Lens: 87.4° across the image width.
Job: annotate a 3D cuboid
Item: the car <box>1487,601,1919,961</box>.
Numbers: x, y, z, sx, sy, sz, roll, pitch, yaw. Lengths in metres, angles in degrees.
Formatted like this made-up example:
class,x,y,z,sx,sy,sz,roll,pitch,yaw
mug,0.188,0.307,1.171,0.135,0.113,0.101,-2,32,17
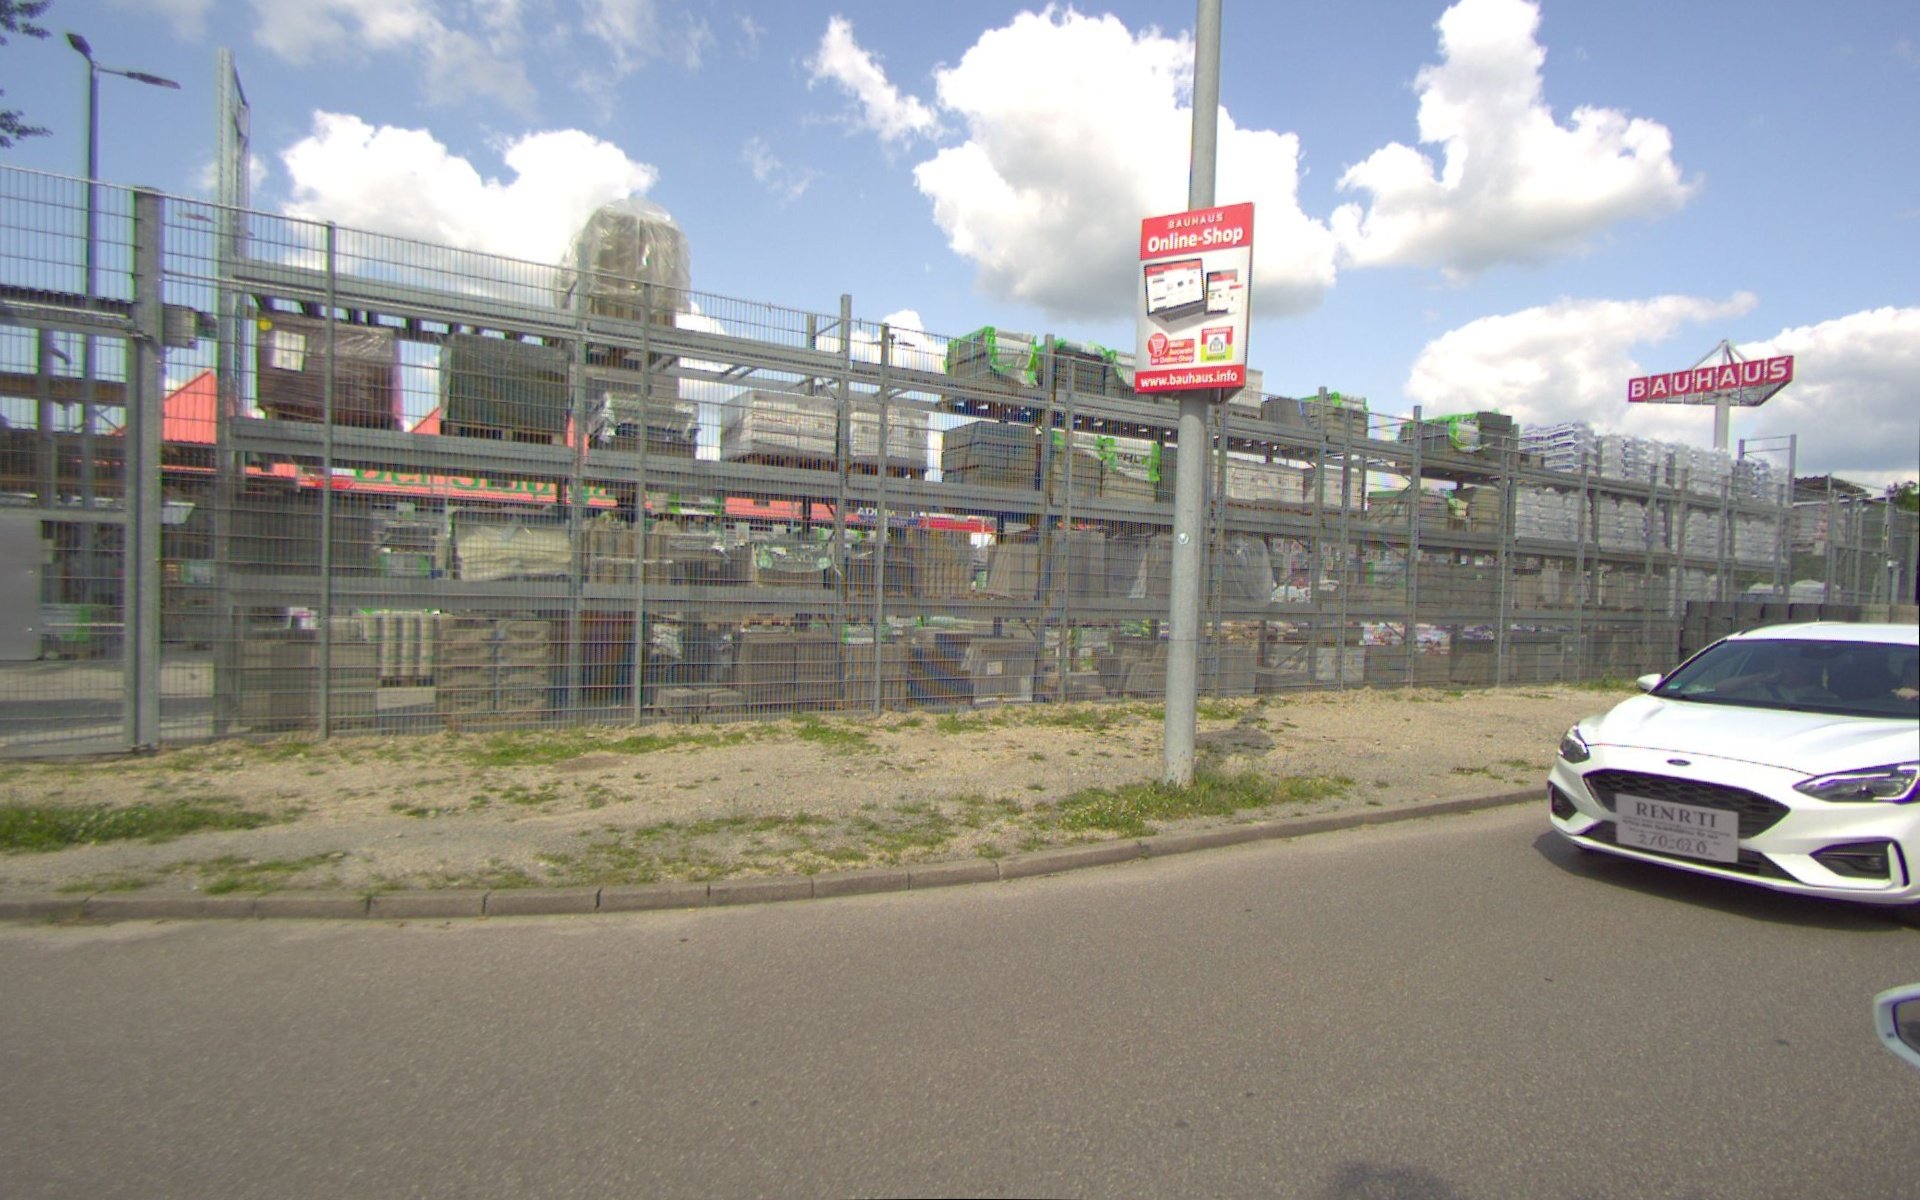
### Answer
class,x,y,z,sx,sy,sz,roll,pitch,yaw
car,5.357,0.816,6.114,4.278,1.484,1.795,1,1,-30

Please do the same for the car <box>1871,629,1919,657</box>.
class,x,y,z,sx,sy,sz,roll,pitch,yaw
car,51.295,2.332,53.301,1.747,1.417,4.052,2,0,-32

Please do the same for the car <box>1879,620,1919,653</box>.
class,x,y,z,sx,sy,sz,roll,pitch,yaw
car,49.648,1.914,51.499,1.691,1.602,3.417,2,0,-32
